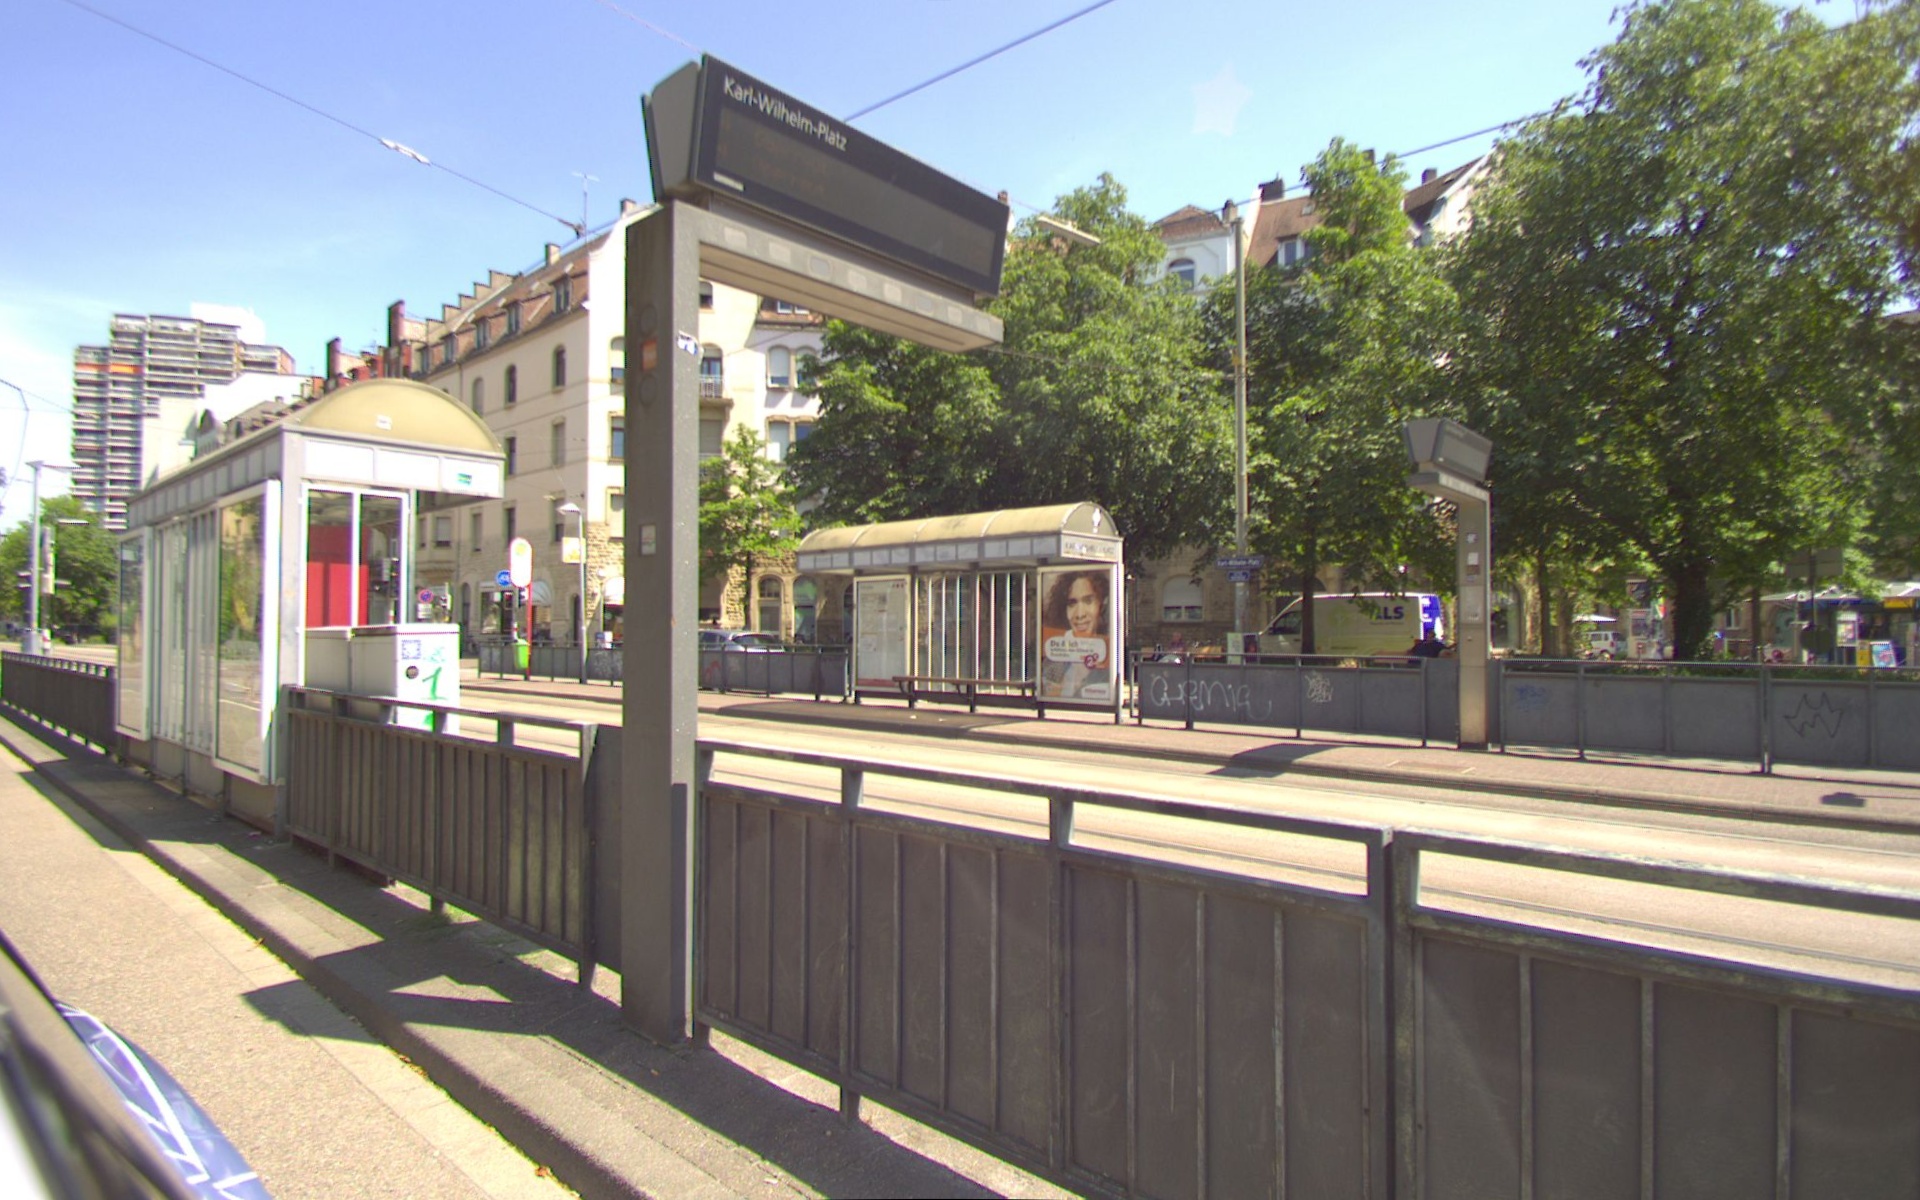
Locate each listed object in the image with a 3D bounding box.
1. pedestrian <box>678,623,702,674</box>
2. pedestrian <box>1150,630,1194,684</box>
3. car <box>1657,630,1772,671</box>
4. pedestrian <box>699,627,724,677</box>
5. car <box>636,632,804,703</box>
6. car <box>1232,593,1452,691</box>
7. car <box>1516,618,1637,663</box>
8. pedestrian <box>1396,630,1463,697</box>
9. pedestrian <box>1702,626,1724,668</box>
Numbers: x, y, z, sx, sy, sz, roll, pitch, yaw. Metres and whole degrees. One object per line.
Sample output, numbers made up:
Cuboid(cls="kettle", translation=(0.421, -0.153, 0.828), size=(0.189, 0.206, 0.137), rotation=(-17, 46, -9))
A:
Cuboid(cls="pedestrian", translation=(-8.817, 1.571, 33.070), size=(0.473, 1.659, 0.586), rotation=(-2, -3, 41))
Cuboid(cls="pedestrian", translation=(5.099, 1.355, 24.304), size=(0.930, 1.253, 0.860), rotation=(-1, 0, 17))
Cuboid(cls="car", translation=(35.794, 2.349, 48.091), size=(1.736, 1.721, 3.998), rotation=(-1, 0, -33))
Cuboid(cls="pedestrian", translation=(-7.977, 1.658, 32.484), size=(0.473, 1.563, 0.586), rotation=(-2, -3, 39))
Cuboid(cls="car", translation=(-5.592, 1.488, 23.350), size=(3.998, 1.404, 1.789), rotation=(-1, 0, 41))
Cuboid(cls="car", translation=(11.436, 1.181, 30.656), size=(5.830, 2.693, 2.241), rotation=(-1, 0, 45))
Cuboid(cls="car", translation=(26.725, 1.704, 43.998), size=(1.966, 1.803, 4.011), rotation=(-1, 0, -33))
Cuboid(cls="pedestrian", translation=(9.289, 1.239, 20.029), size=(0.852, 1.253, 0.939), rotation=(-1, 0, -43))
Cuboid(cls="pedestrian", translation=(30.428, 1.910, 40.877), size=(0.483, 1.683, 0.517), rotation=(1, -2, -27))
